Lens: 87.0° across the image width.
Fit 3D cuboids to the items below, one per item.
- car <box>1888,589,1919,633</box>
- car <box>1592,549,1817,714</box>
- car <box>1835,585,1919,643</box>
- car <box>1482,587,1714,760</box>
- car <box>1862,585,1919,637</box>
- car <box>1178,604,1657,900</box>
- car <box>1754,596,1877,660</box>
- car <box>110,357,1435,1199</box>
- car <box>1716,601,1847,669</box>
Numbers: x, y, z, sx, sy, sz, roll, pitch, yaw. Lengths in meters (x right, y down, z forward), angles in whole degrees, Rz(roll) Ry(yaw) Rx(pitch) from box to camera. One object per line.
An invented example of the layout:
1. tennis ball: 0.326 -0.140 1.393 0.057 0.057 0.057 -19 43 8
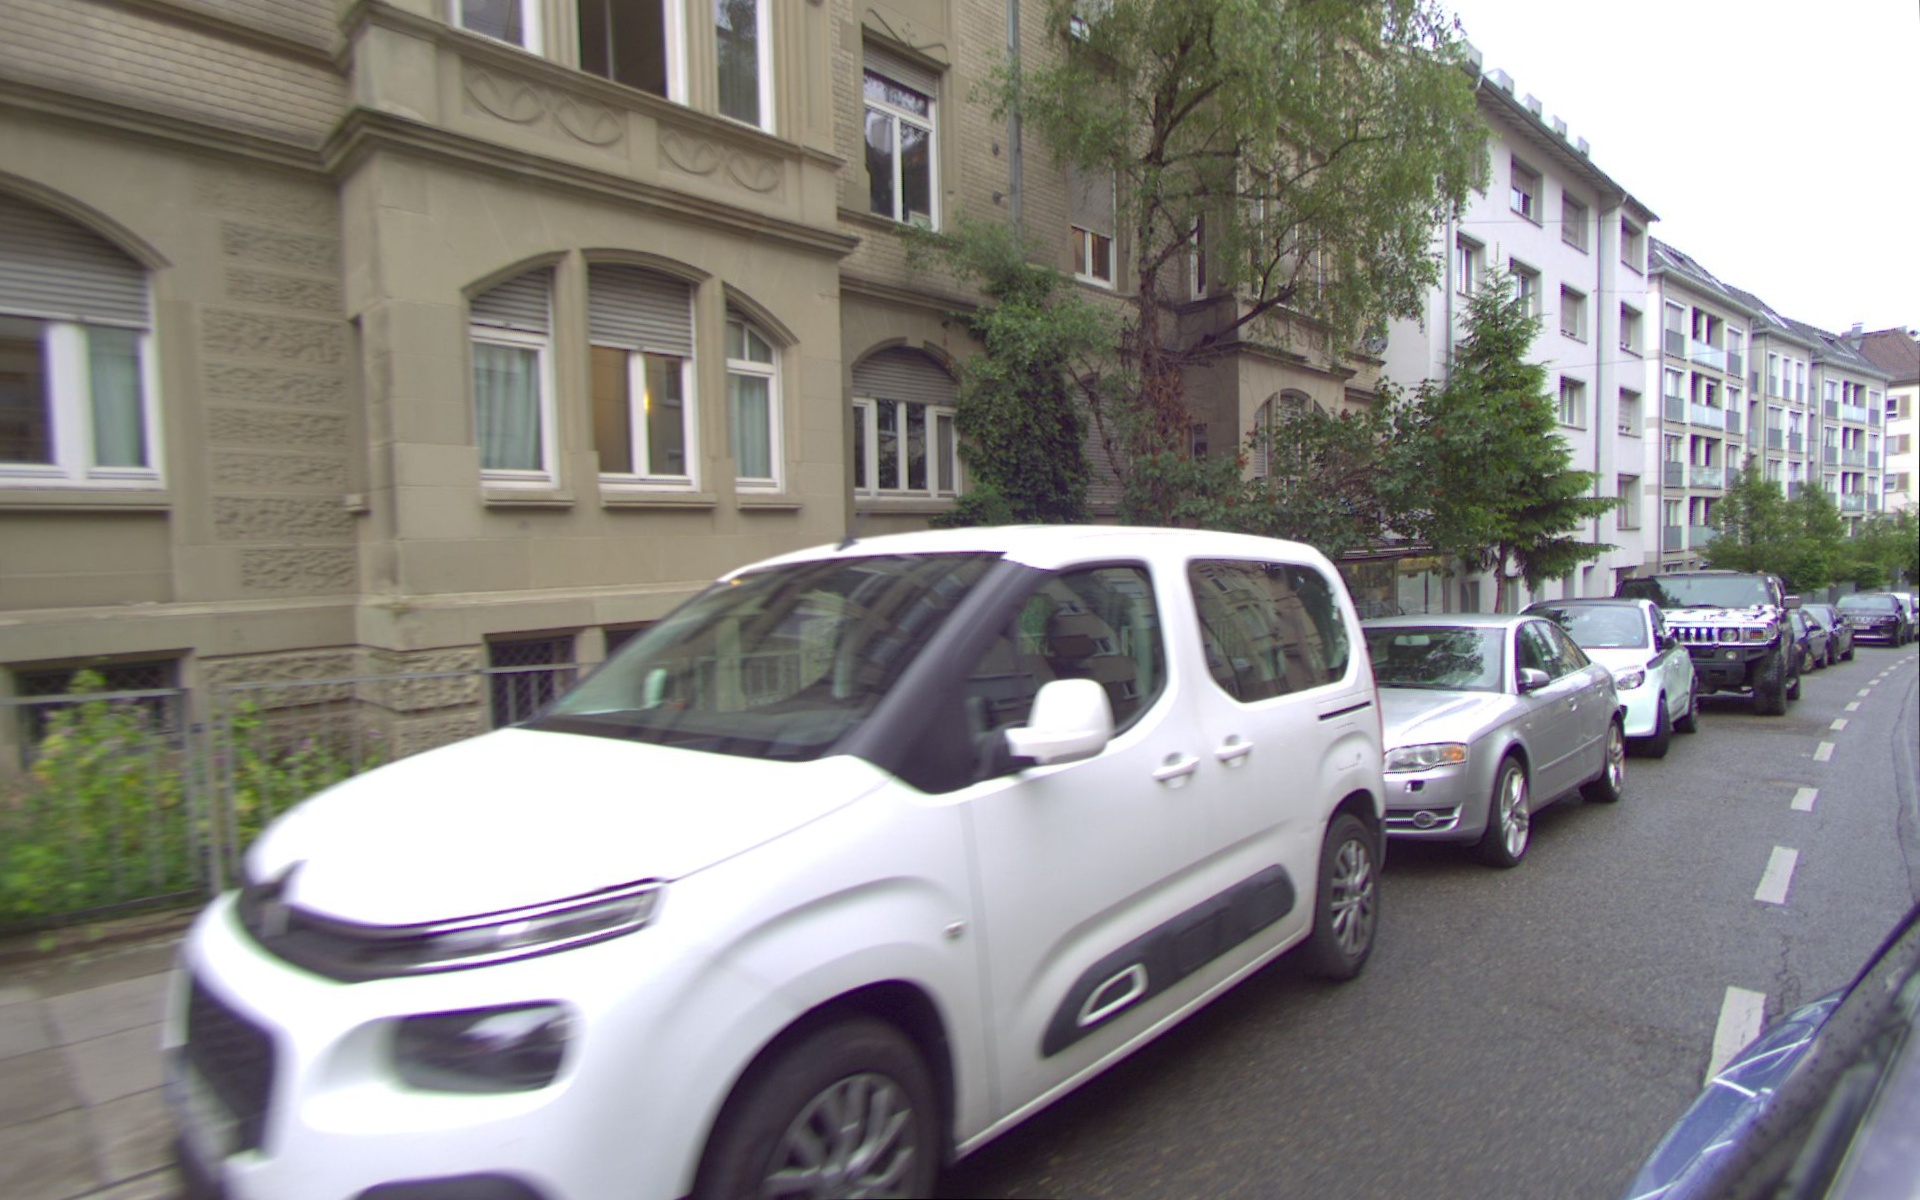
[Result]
1. car: 39.981 0.428 41.830 4.604 1.677 1.836 -1 2 -40
2. car: 11.307 0.382 15.195 2.128 2.039 5.268 -1 -1 43
3. car: 31.286 0.405 34.315 4.740 1.818 1.945 -1 1 -43
4. car: 7.044 0.667 11.034 1.559 1.566 3.530 -1 -1 42
5. car: 35.429 0.380 38.052 4.394 1.817 1.781 0 1 -42
6. car: 3.499 0.772 7.234 1.748 1.418 4.407 -1 -1 44
7. car: 21.575 0.635 25.457 4.532 1.455 1.796 0 0 -42
8. car: 0.007 0.576 3.545 1.796 1.787 4.395 -1 -1 42
9. car: 18.153 0.707 22.306 3.816 1.355 1.681 0 0 -42
